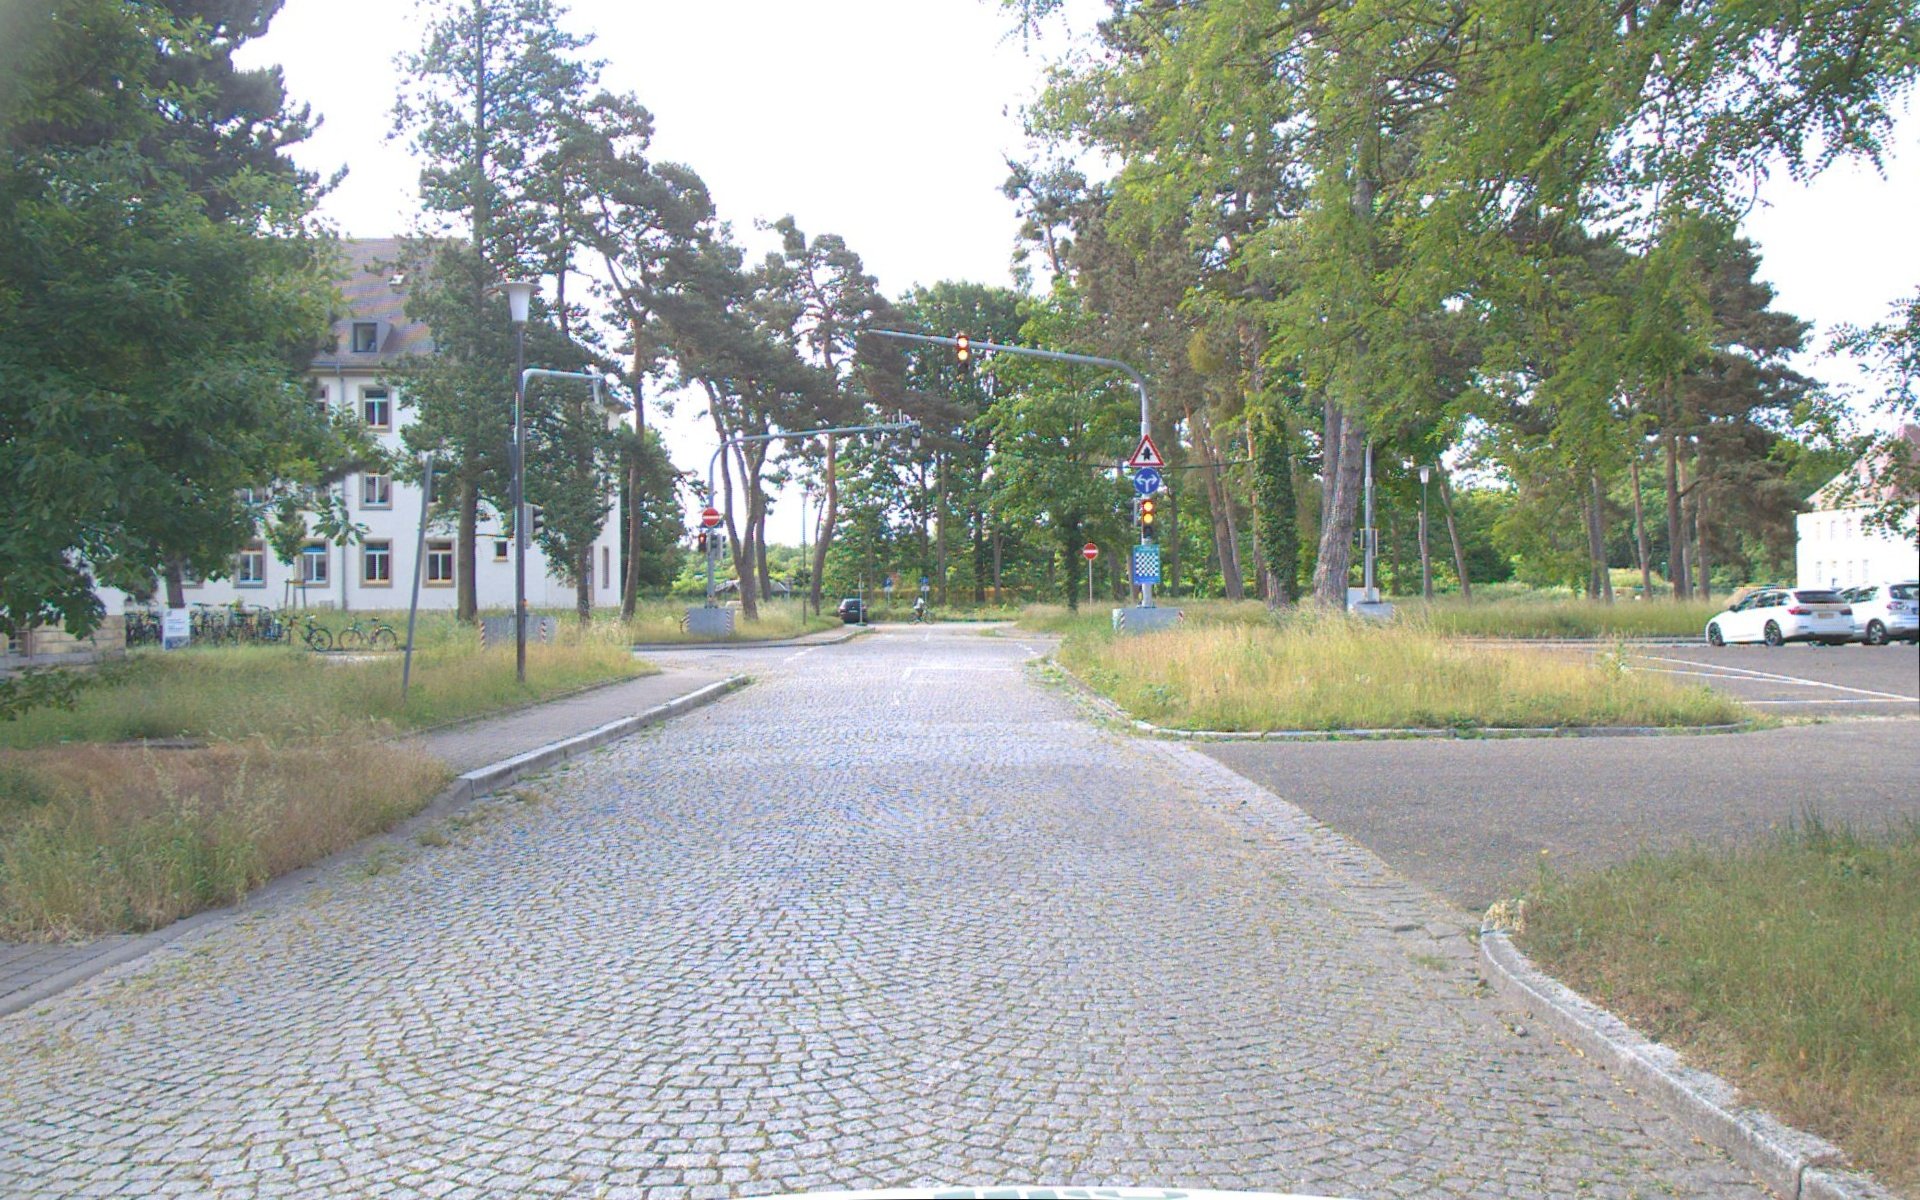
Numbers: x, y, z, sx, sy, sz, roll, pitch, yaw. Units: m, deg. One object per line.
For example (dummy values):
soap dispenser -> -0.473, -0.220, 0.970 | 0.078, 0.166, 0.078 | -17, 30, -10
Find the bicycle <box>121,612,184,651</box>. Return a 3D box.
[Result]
bicycle -> -23.636, 0.899, 48.451 | 0.721, 1.095, 2.273 | -1, 0, 0

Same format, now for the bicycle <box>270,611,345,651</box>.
bicycle -> -18.663, 0.888, 47.318 | 1.818, 1.095, 0.738 | -1, 0, 1

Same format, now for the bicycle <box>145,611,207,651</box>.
bicycle -> -22.916, 0.896, 48.391 | 0.721, 1.095, 2.273 | -1, 0, 0

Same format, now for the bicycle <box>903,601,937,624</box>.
bicycle -> -2.366, 0.767, 98.451 | 1.936, 1.343, 0.516 | 1, -1, -15

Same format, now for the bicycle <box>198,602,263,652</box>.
bicycle -> -21.502, 0.777, 48.798 | 0.721, 1.410, 2.711 | -1, 0, 0

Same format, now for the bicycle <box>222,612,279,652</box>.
bicycle -> -20.767, 0.921, 48.454 | 0.721, 1.095, 2.273 | -1, 0, 0

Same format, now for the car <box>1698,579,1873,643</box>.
car -> 20.751, 0.304, 41.800 | 1.954, 1.507, 4.421 | -1, -1, -4

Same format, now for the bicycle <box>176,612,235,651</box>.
bicycle -> -22.289, 0.917, 48.894 | 0.721, 1.095, 2.273 | -1, 0, 0

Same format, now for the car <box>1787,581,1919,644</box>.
car -> 23.216, 0.345, 42.019 | 1.954, 1.507, 4.421 | -1, -1, -4

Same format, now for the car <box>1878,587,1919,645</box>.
car -> 25.828, 0.389, 42.355 | 1.954, 1.507, 4.421 | -1, -1, -4

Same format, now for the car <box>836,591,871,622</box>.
car -> -6.716, 0.395, 104.884 | 2.014, 1.878, 3.999 | -1, 0, -2

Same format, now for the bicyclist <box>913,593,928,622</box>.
bicyclist -> -2.360, 0.455, 98.450 | 0.736, 1.700, 0.524 | 1, -1, -14

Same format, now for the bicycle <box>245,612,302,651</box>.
bicycle -> -20.138, 0.909, 48.545 | 0.721, 1.095, 2.273 | -1, 0, 0

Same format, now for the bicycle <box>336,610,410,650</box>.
bicycle -> -16.812, 0.856, 47.387 | 1.818, 1.095, 0.831 | -1, 0, 1
